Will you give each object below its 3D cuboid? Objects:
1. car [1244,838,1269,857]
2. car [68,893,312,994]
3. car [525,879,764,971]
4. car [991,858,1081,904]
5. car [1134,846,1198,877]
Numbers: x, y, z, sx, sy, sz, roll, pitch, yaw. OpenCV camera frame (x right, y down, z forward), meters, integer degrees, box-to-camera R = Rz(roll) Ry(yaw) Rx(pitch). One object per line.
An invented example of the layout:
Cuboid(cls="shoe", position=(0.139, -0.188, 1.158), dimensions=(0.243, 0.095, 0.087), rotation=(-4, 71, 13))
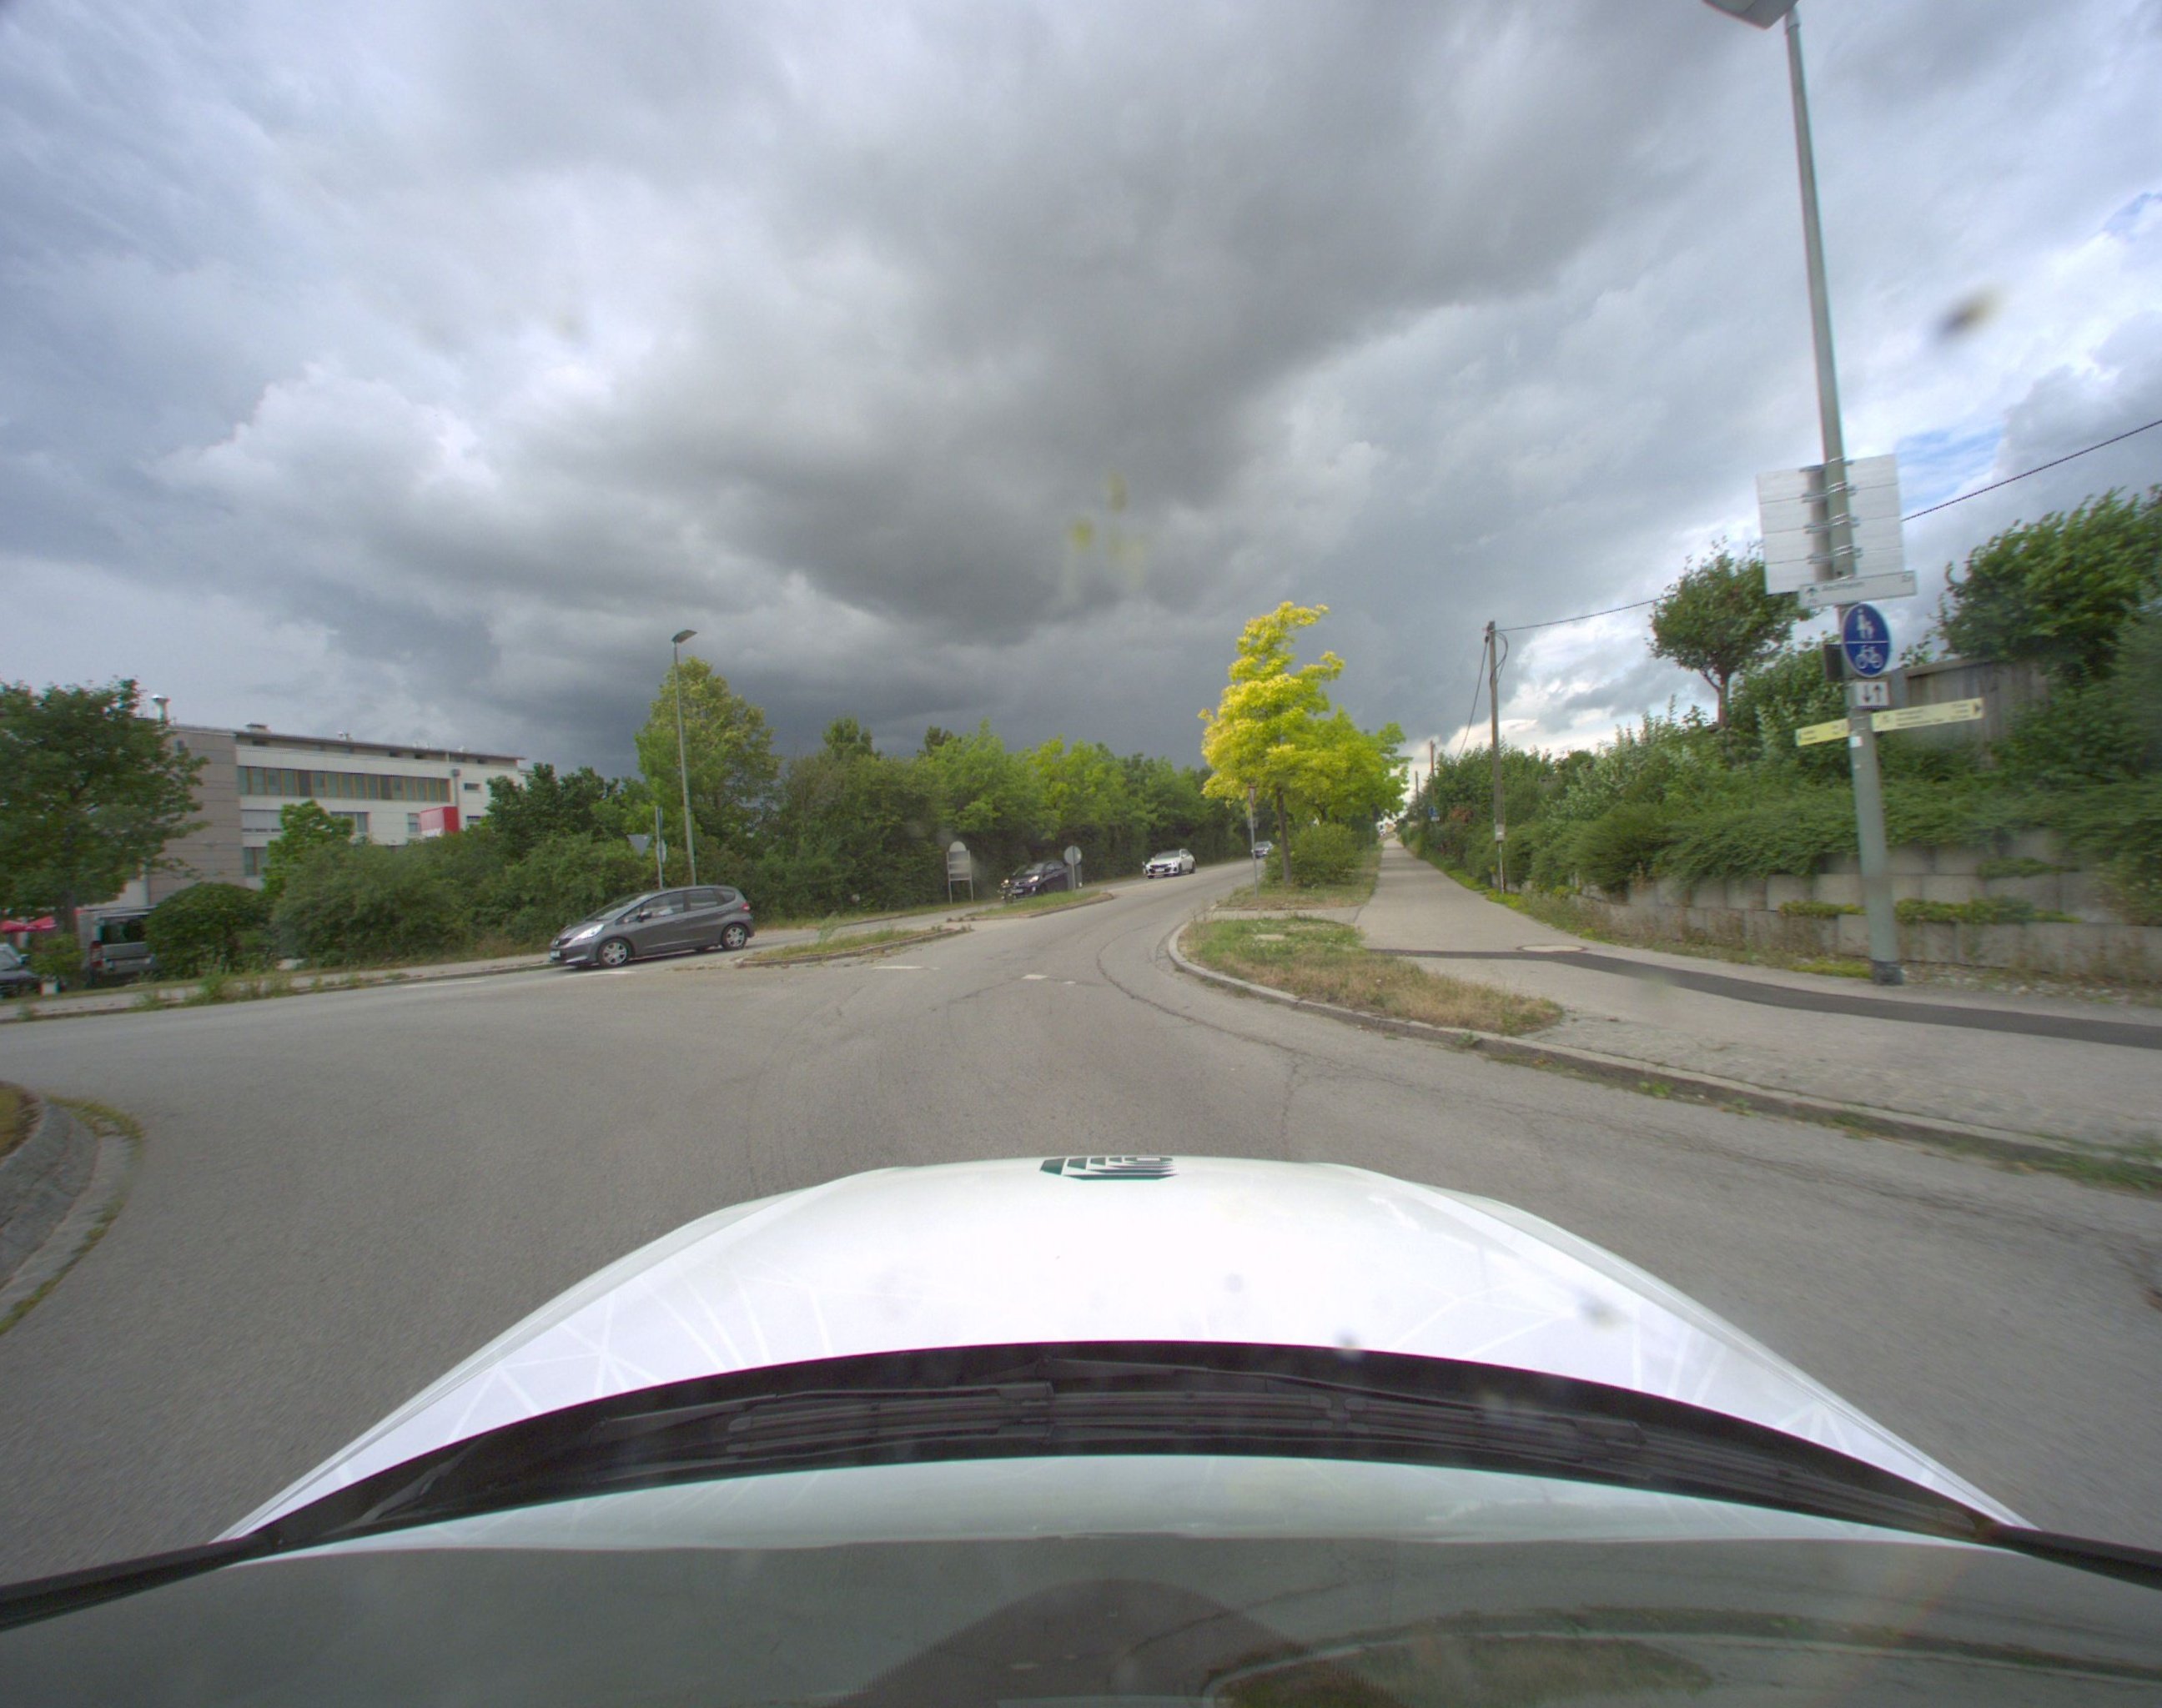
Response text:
Cuboid(cls="car", position=(17.251, -0.629, 79.981), dimensions=(1.979, 1.601, 4.683), rotation=(-6, -1, 15))
Cuboid(cls="car", position=(-22.895, 2.216, 21.208), dimensions=(4.023, 2.013, 1.976), rotation=(-4, 0, -42))
Cuboid(cls="car", position=(-9.004, 1.422, 17.114), dimensions=(1.665, 1.423, 4.026), rotation=(-5, -1, 36))
Cuboid(cls="car", position=(-1.653, 0.999, 31.417), dimensions=(1.666, 1.454, 4.024), rotation=(-2, 1, 26))
Cuboid(cls="car", position=(4.985, 0.397, 46.988), dimensions=(2.193, 1.454, 4.971), rotation=(-2, 1, 23))
